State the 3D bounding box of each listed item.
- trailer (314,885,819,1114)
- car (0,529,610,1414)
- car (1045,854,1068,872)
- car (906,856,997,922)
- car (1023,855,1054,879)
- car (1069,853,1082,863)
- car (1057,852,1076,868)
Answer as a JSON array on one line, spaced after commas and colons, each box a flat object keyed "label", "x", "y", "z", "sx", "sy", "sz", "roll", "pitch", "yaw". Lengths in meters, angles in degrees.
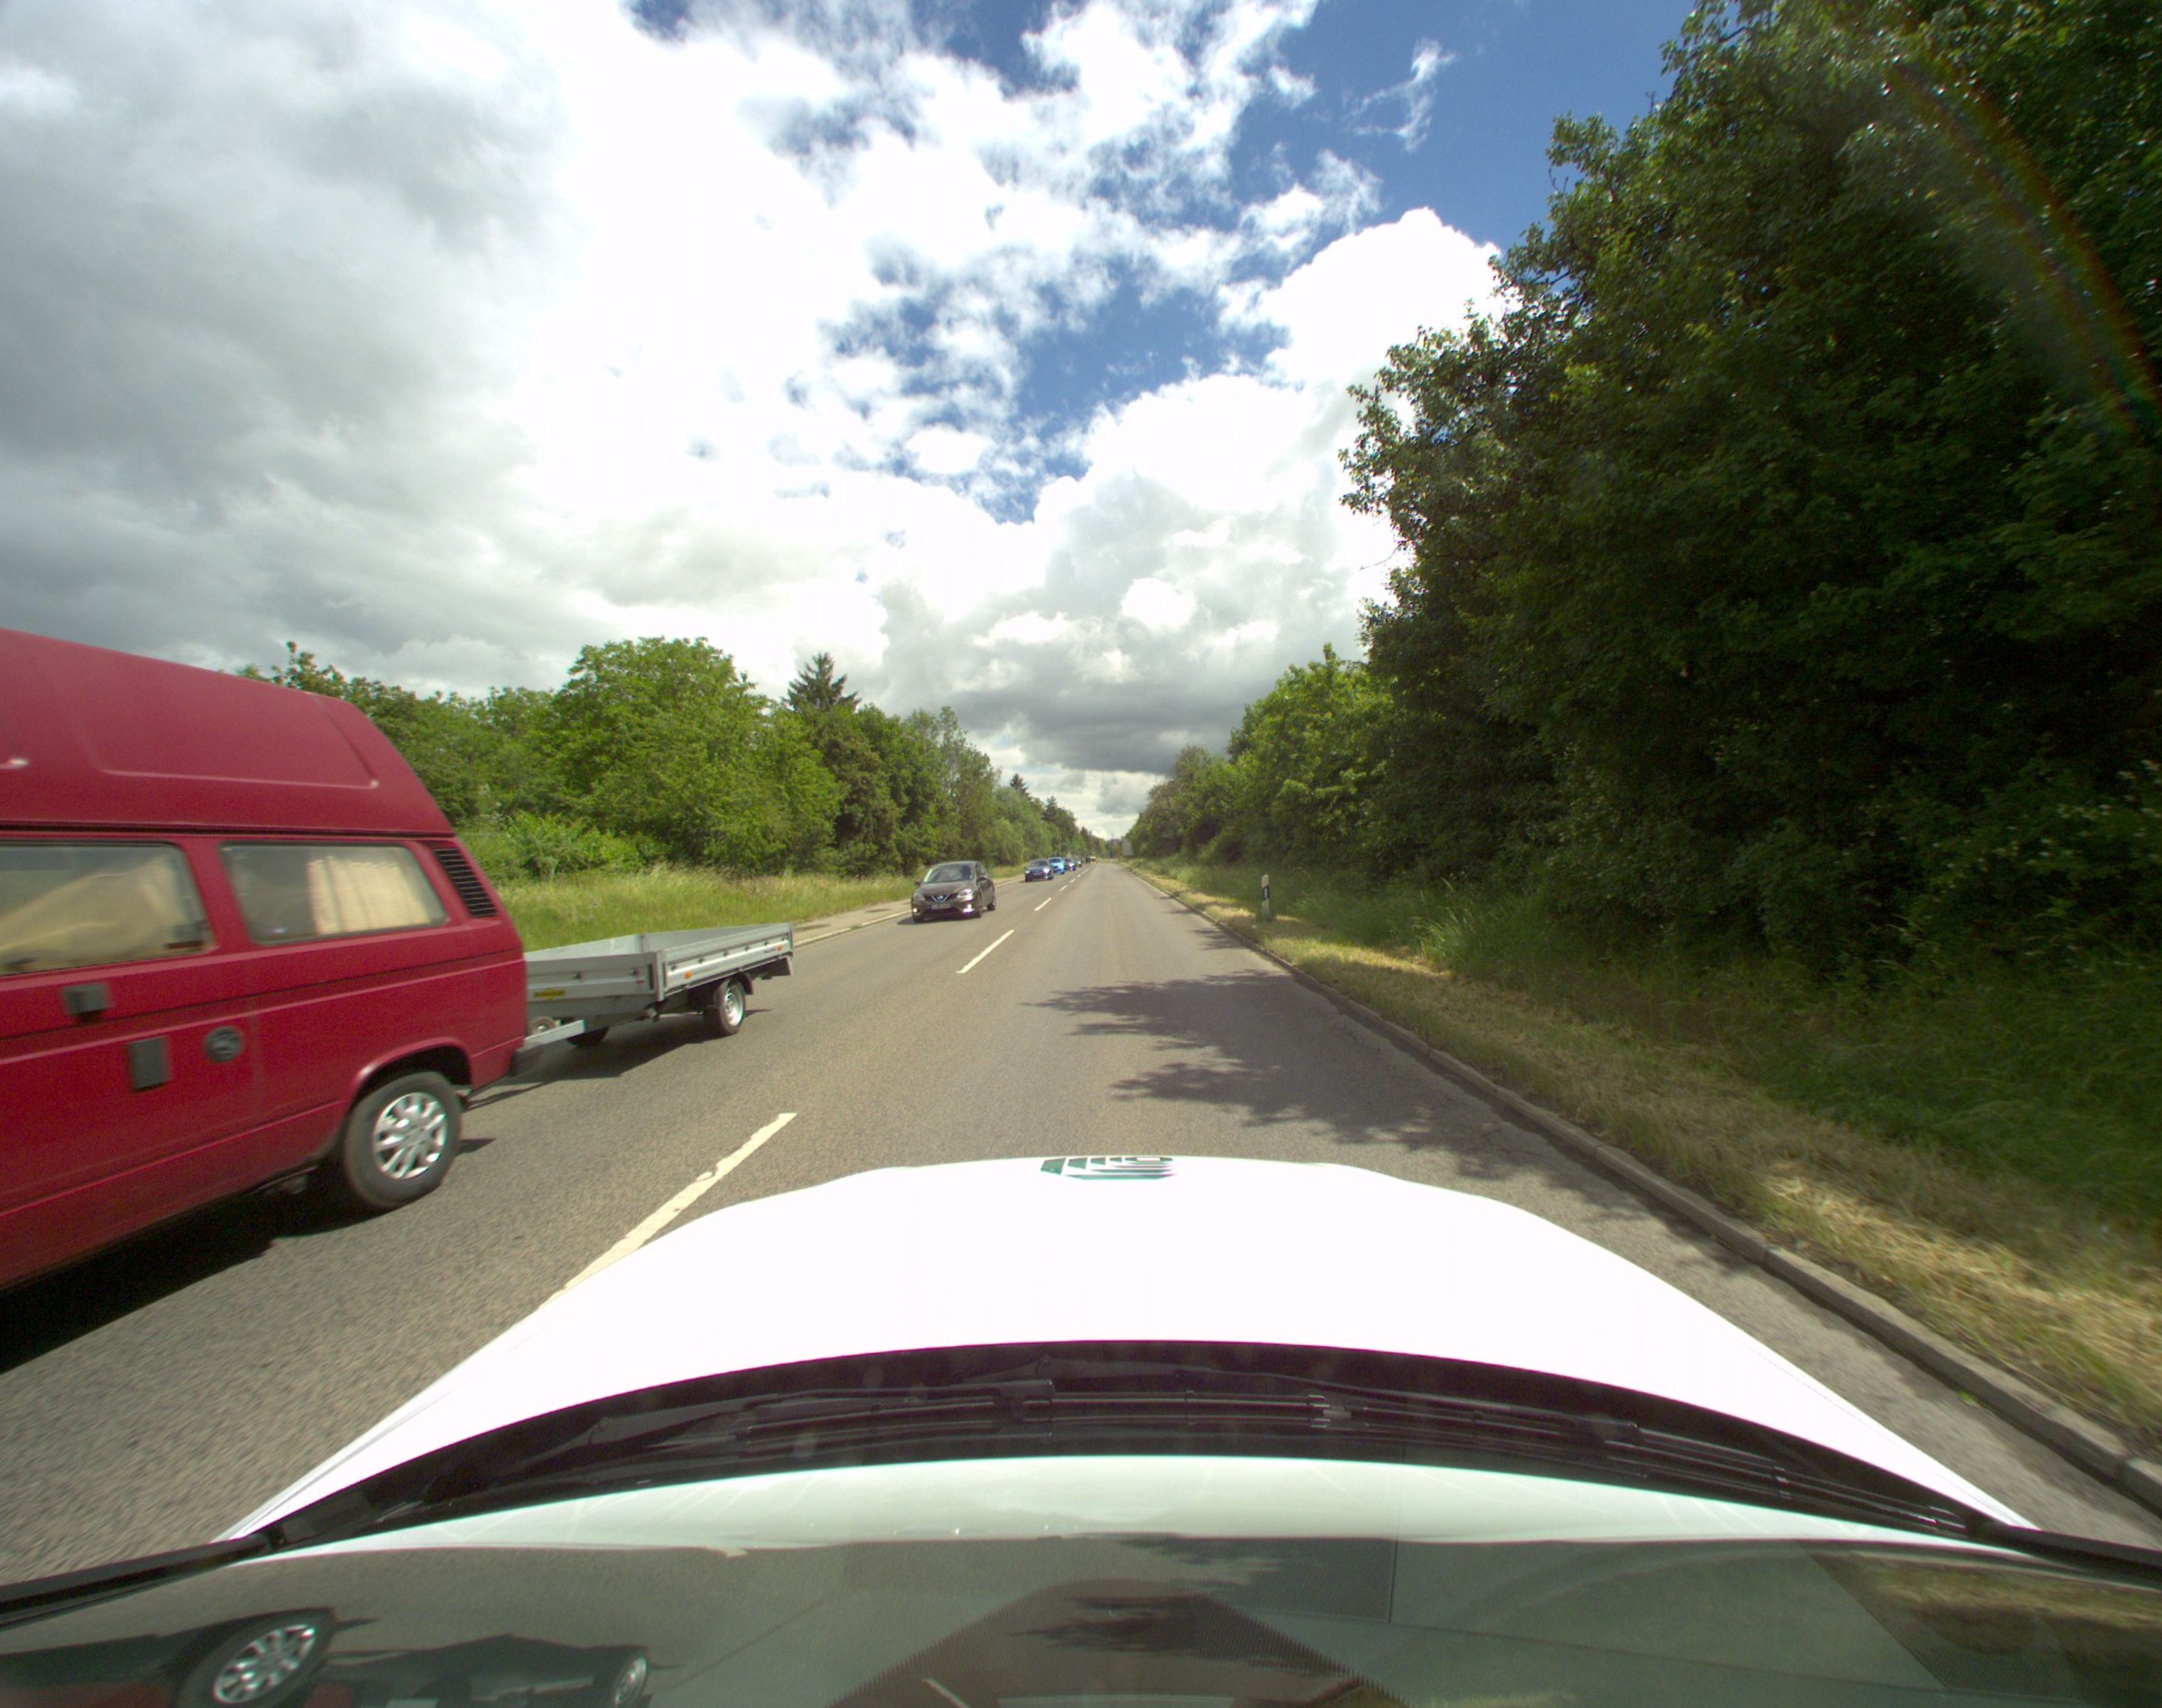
[{"label": "trailer", "x": -4.011, "y": 1.032, "z": 7.308, "sx": 1.885, "sy": 1.200, "sz": 3.918, "roll": -4, "pitch": 0, "yaw": 1}, {"label": "car", "x": -4.100, "y": 0.375, "z": 2.785, "sx": 1.962, "sy": 2.550, "sz": 4.726, "roll": -4, "pitch": 0, "yaw": 1}, {"label": "car", "x": -2.145, "y": 0.748, "z": 72.158, "sx": 1.778, "sy": 1.446, "sz": 2.966, "roll": -4, "pitch": 0, "yaw": 0}, {"label": "car", "x": -3.451, "y": 0.882, "z": 22.389, "sx": 1.710, "sy": 1.471, "sz": 4.000, "roll": -5, "pitch": 0, "yaw": 1}, {"label": "car", "x": -2.857, "y": 0.851, "z": 55.426, "sx": 1.778, "sy": 1.446, "sz": 4.452, "roll": -4, "pitch": 0, "yaw": 0}, {"label": "car", "x": -0.765, "y": 0.573, "z": 118.424, "sx": 1.778, "sy": 1.334, "sz": 4.623, "roll": -4, "pitch": 0, "yaw": 0}, {"label": "car", "x": -1.544, "y": 0.613, "z": 88.899, "sx": 1.878, "sy": 1.491, "sz": 4.717, "roll": -4, "pitch": 0, "yaw": 0}]
